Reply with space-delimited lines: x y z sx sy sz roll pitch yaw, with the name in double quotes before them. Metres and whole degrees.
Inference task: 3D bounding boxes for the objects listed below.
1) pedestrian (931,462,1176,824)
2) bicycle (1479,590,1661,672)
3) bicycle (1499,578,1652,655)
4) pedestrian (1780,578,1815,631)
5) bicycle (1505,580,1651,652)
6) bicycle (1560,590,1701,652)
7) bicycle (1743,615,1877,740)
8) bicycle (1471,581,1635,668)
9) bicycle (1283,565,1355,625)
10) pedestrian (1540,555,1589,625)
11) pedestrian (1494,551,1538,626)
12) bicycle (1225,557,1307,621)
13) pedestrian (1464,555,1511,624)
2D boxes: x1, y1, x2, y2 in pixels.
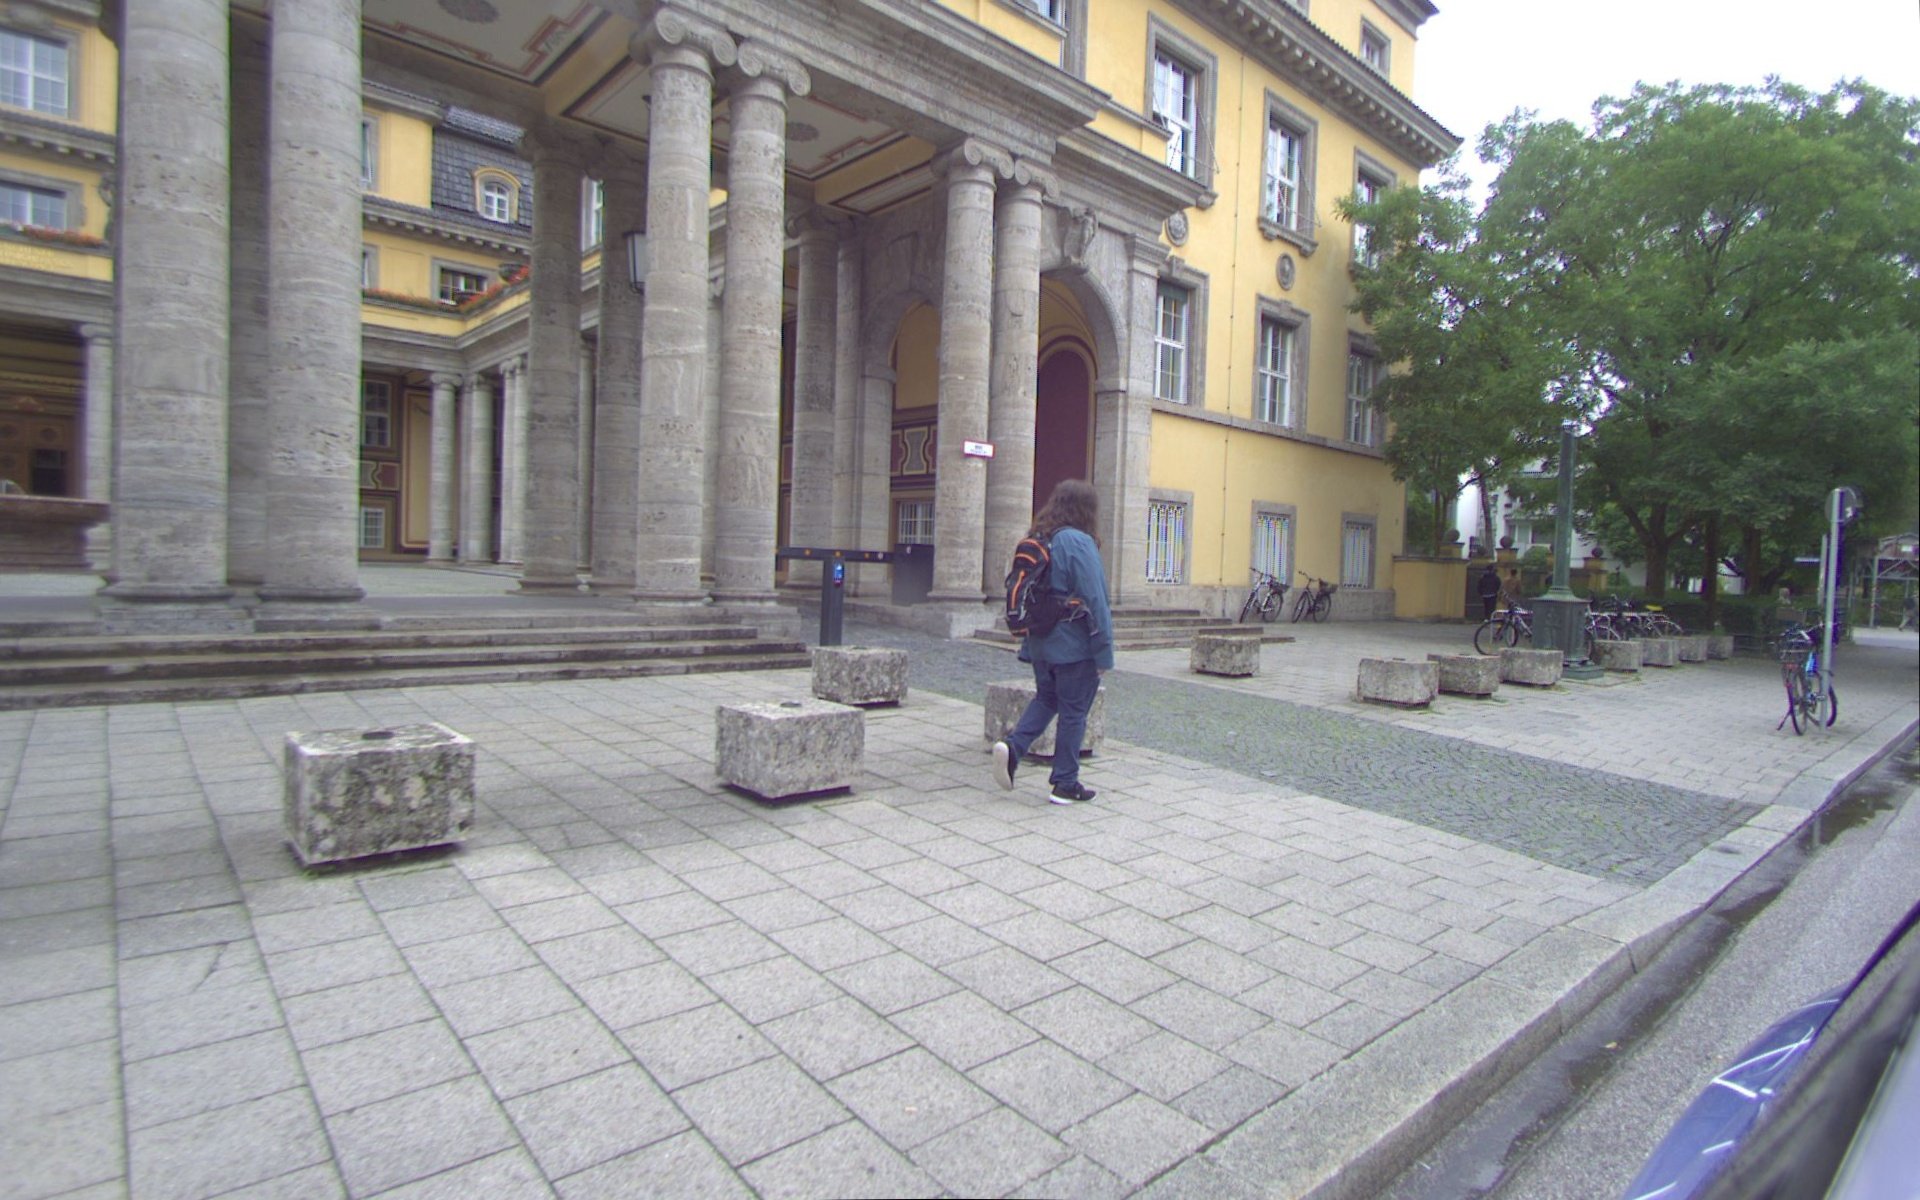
"pedestrian" 0.517 0.189 5.576 1.038 1.767 0.789 0 3 -42
"bicycle" 9.706 0.461 16.178 2.361 1.018 0.668 7 5 40
"bicycle" 11.354 0.276 18.726 2.255 1.071 0.593 10 7 38
"pedestrian" 27.717 0.144 33.487 0.649 1.753 0.797 0 0 -43
"bicycle" 11.870 0.272 19.498 2.255 1.035 0.593 10 7 38
"bicycle" 13.649 0.406 20.677 0.591 1.023 2.263 2 4 -39
"bicycle" 9.165 0.773 10.878 2.226 1.113 0.762 0 5 -43
"bicycle" 10.082 0.384 17.278 2.255 1.107 0.593 10 7 38
"bicycle" 8.421 -0.122 23.685 2.128 1.323 0.601 0 3 -43
"pedestrian" 17.146 -0.286 28.712 1.017 1.887 0.782 0 6 -42
"pedestrian" 14.631 -0.304 26.630 0.807 1.887 0.658 0 6 -42
"bicycle" 6.711 -0.237 22.123 2.225 1.323 0.601 0 3 -42
"pedestrian" 14.149 -0.295 27.172 0.827 1.764 0.741 0 6 -42
